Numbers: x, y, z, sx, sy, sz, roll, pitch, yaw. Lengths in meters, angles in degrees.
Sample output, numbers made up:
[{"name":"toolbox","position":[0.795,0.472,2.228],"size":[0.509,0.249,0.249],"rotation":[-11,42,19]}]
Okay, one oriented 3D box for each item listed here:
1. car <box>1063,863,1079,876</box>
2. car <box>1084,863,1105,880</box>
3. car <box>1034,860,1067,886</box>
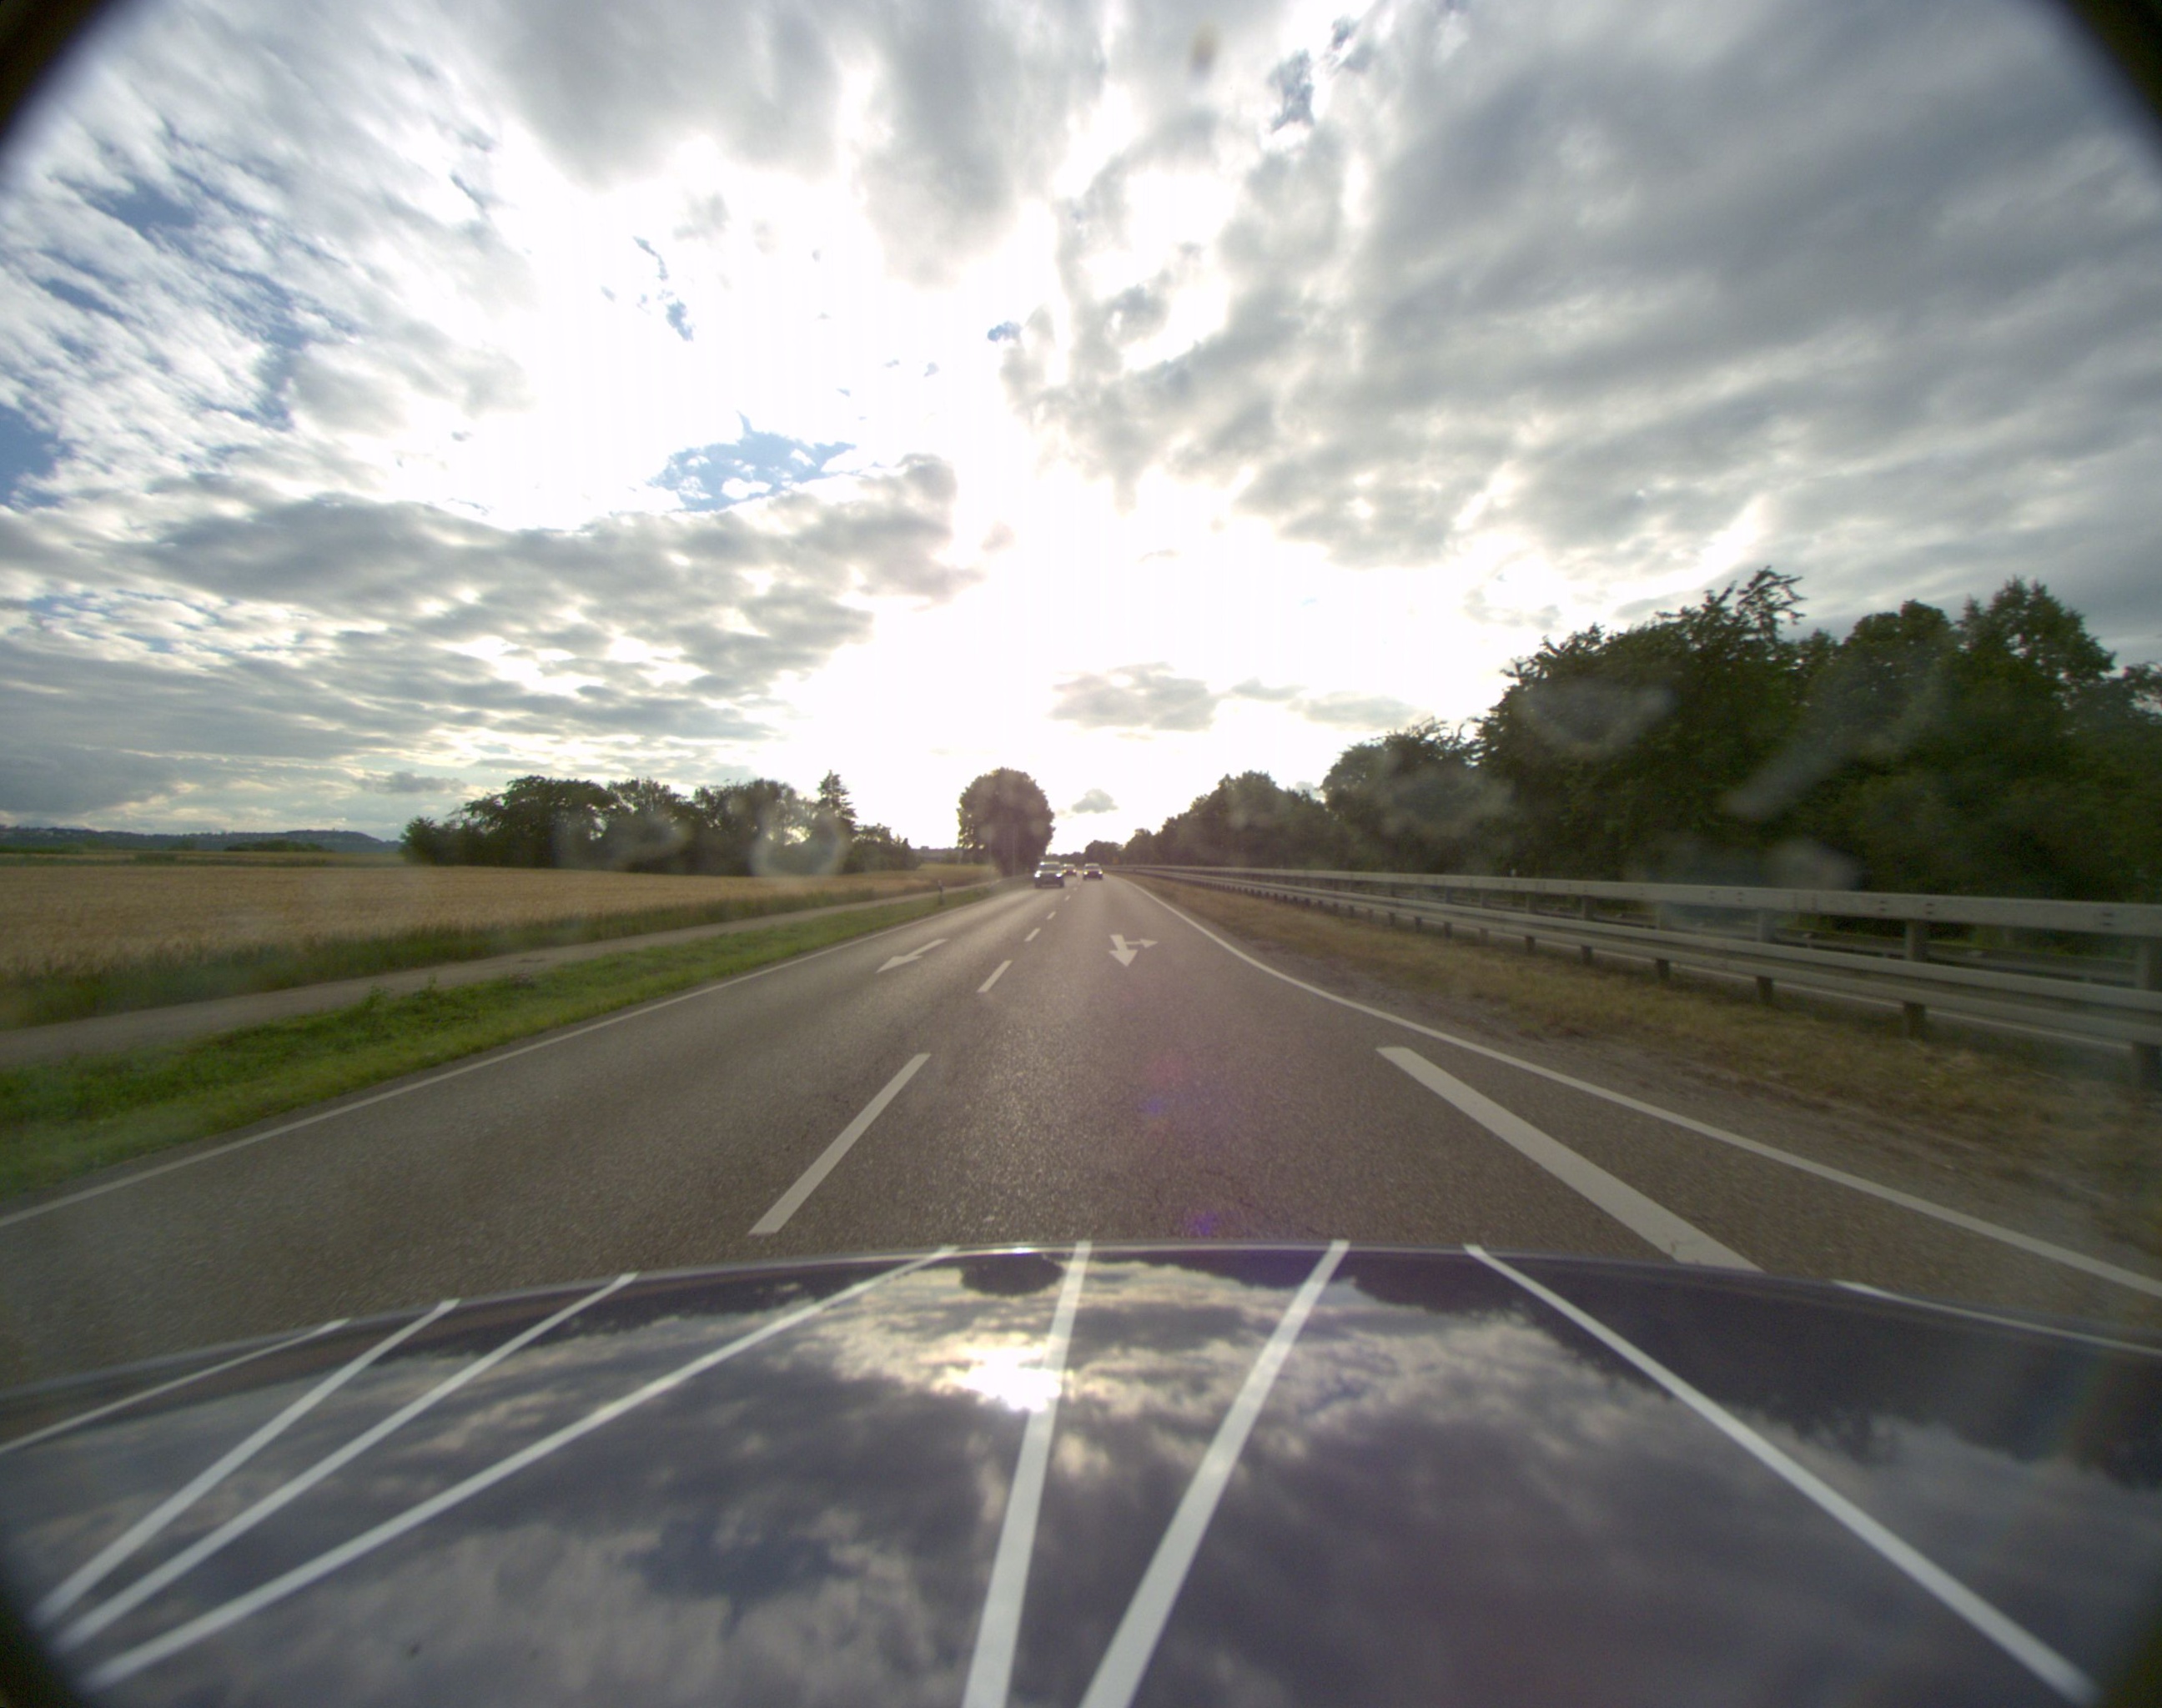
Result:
[{"name":"car","position":[-1.172,1.840,91.659],"size":[1.823,1.409,4.000],"rotation":[-2,0,0]},{"name":"car","position":[1.168,1.589,68.809],"size":[1.775,1.388,4.000],"rotation":[-2,0,-1]},{"name":"car","position":[-2.006,1.234,50.598],"size":[1.863,1.636,4.000],"rotation":[-2,0,1]}]
